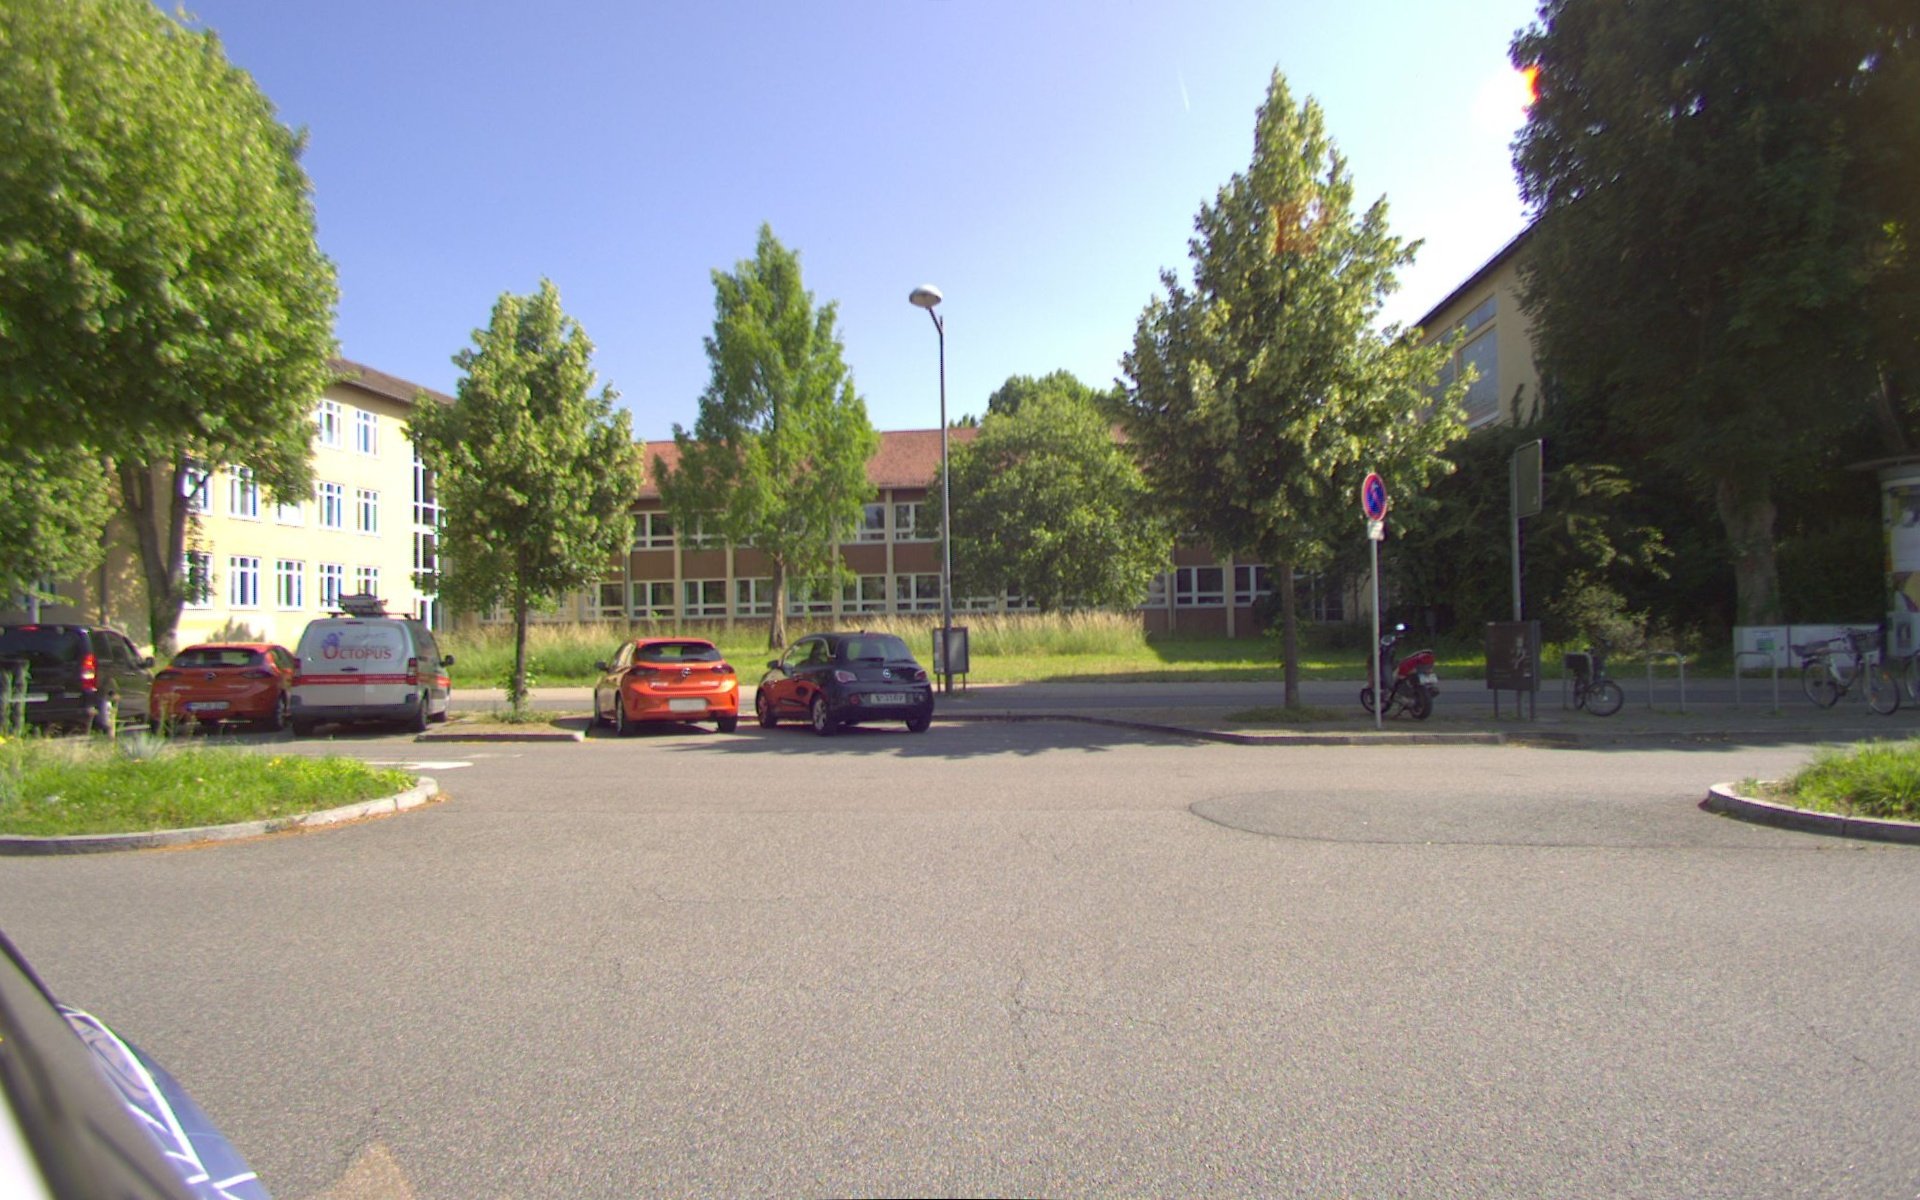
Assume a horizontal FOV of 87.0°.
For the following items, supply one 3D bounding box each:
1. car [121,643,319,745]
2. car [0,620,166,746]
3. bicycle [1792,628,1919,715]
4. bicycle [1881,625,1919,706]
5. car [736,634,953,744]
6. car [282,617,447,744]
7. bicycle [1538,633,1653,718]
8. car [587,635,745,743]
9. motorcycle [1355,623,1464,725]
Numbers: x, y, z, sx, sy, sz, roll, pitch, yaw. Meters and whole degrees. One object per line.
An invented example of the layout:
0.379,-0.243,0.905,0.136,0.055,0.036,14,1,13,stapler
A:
-12.168,1.486,16.928,1.824,1.438,3.786,-1,-3,-22,car
-14.825,1.327,16.768,1.970,1.830,4.201,0,-3,-29,car
12.623,0.962,14.129,0.685,1.115,1.846,-1,-2,9,bicycle
13.729,0.907,13.874,0.685,1.131,1.846,-1,-2,9,bicycle
-1.865,1.268,15.290,1.824,1.434,3.785,1,-4,-31,car
-9.530,1.209,16.486,1.788,1.785,3.786,0,-2,-22,car
8.928,1.036,14.310,0.685,1.100,1.846,-1,-2,9,bicycle
-4.686,1.278,15.781,1.686,1.434,3.855,0,-2,-27,car
6.158,0.981,13.989,0.683,1.294,1.850,-1,-2,2,motorcycle
